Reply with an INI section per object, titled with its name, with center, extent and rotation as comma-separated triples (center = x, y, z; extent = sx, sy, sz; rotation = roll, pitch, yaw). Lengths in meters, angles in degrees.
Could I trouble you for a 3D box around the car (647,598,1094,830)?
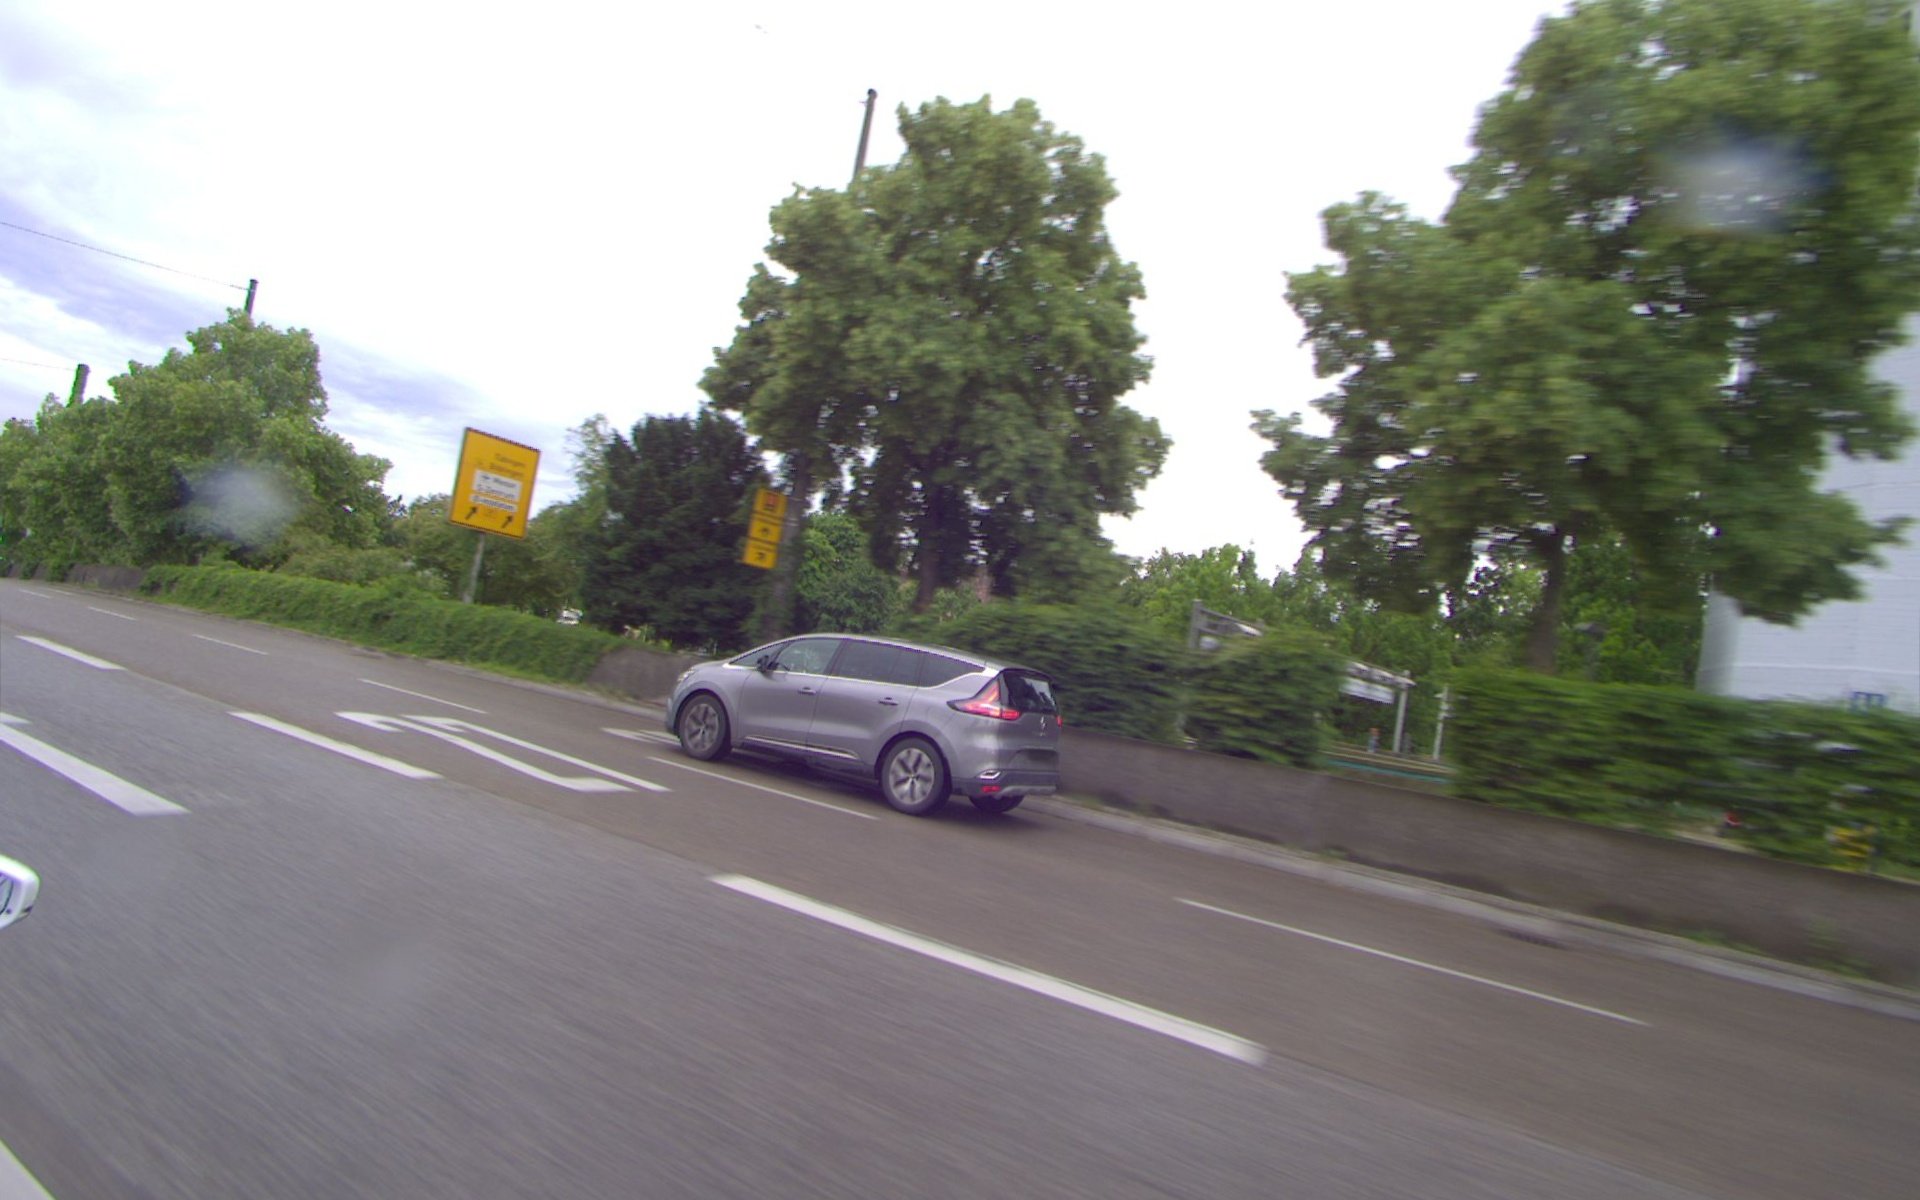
[car]
center = -1.066, 1.168, 11.029
extent = 4.548, 1.665, 1.732
rotation = 7, -5, 31
